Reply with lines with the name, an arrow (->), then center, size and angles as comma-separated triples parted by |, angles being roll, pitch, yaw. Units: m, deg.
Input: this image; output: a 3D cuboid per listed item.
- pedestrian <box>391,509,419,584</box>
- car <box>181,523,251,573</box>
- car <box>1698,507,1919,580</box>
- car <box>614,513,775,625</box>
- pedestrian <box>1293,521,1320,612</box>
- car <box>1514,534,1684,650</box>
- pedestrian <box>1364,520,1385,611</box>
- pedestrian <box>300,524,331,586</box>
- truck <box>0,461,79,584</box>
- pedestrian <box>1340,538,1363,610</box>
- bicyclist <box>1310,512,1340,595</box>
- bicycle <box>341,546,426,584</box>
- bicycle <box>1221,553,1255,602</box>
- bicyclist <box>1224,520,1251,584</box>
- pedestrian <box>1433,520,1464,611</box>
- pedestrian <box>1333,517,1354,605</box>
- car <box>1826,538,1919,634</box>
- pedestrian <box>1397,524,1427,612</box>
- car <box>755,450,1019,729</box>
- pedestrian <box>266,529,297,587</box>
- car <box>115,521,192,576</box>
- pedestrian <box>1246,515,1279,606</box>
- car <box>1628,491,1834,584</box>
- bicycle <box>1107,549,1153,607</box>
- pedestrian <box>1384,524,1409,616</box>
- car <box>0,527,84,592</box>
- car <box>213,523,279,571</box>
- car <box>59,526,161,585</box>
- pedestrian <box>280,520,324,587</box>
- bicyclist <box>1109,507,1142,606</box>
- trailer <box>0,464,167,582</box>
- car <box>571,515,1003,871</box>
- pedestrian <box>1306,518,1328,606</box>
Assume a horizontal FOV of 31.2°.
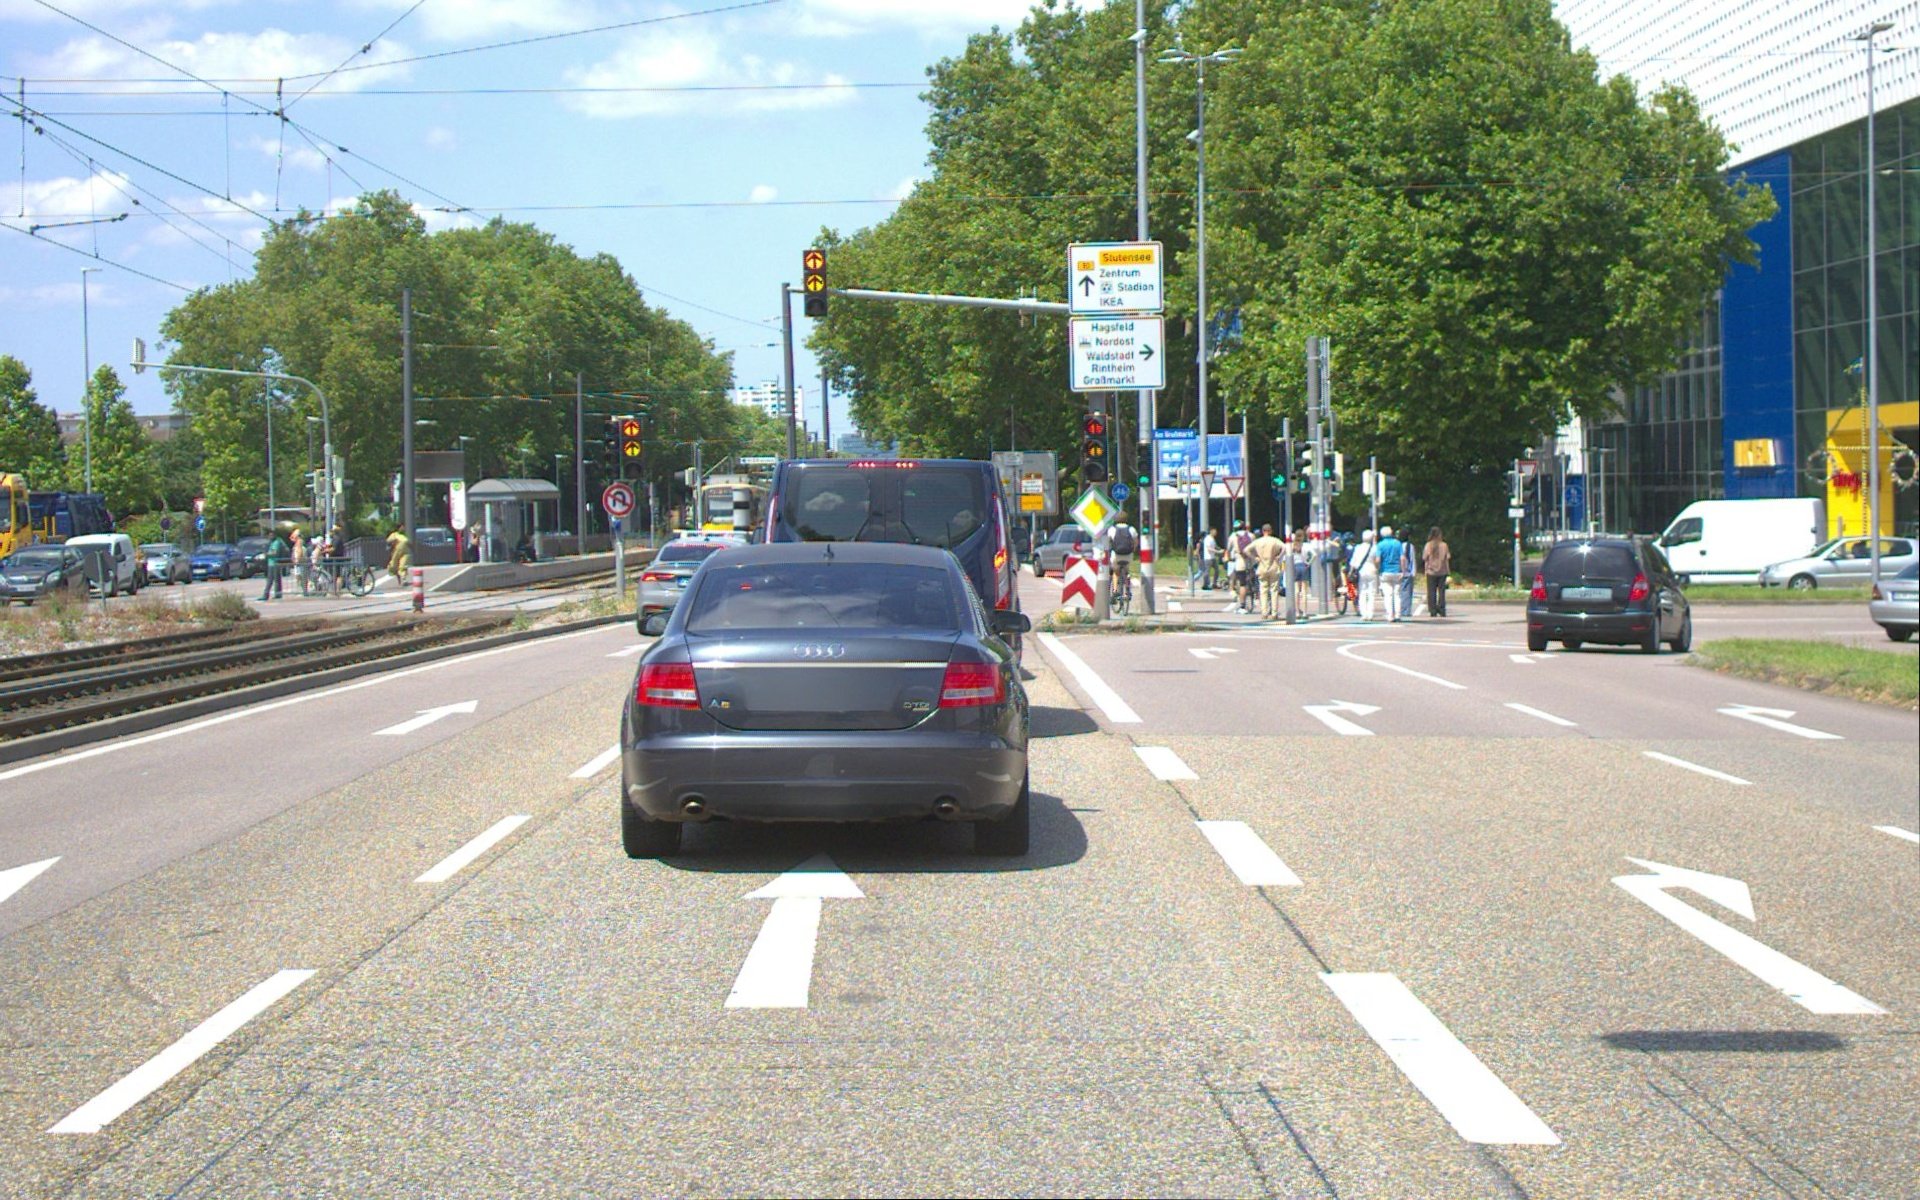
pedestrian -> -14.853, -1.424, 92.016 | 0.685, 2.007, 0.573 | 0, 1, -4
car -> -28.385, -2.009, 131.254 | 1.817, 1.876, 4.000 | 0, 1, -1
car -> 18.865, -1.273, 76.460 | 4.498, 1.481, 2.000 | 1, 2, 3
car -> -3.762, -0.474, 49.318 | 1.993, 1.481, 4.000 | 1, 2, 0
pedestrian -> 6.234, -0.605, 61.829 | 0.445, 1.629, 0.430 | 0, 1, 3
car -> 8.936, -0.147, 47.849 | 1.995, 1.481, 3.997 | 2, 2, 15
pedestrian -> 7.442, -0.620, 61.730 | 0.320, 1.629, 0.377 | 0, 1, 3
pedestrian -> -16.275, -1.130, 86.833 | 0.685, 1.559, 0.573 | 0, 1, -4
truck -> -28.419, -2.304, 102.423 | 2.767, 3.557, 6.440 | 0, 1, -1
pedestrian -> 7.038, -0.468, 61.767 | 0.372, 1.299, 0.365 | 0, 1, 3
bicyclist -> 7.819, -0.995, 73.664 | 0.529, 1.758, 0.827 | 0, 1, 13
bicycle -> -14.303, -0.865, 85.250 | 2.055, 0.922, 0.753 | 0, 1, -10
bicycle -> 5.121, -0.424, 63.427 | 0.550, 0.874, 1.697 | 0, 1, 2
bicyclist -> 5.148, -0.891, 63.823 | 0.470, 1.189, 0.791 | 0, 1, 2
pedestrian -> 9.059, -0.644, 63.779 | 0.521, 1.664, 0.494 | 0, 1, 3
pedestrian -> 7.116, -0.731, 63.838 | 0.339, 1.629, 0.377 | 0, 1, 3
car -> 16.448, -0.232, 56.884 | 4.154, 1.481, 1.999 | 0, 2, -40
pedestrian -> 8.393, -0.591, 63.804 | 0.504, 1.629, 0.449 | 0, 1, 3
car -> -0.537, -0.106, 25.958 | 1.836, 1.943, 4.000 | 0, 1, -1
pedestrian -> -16.915, -1.060, 85.722 | 0.685, 1.438, 0.573 | 0, 1, -4
car -> -28.517, -1.833, 121.608 | 1.817, 1.876, 4.000 | 0, 1, -1
pedestrian -> 5.441, -0.718, 61.887 | 0.554, 1.629, 0.433 | 0, 1, 3
car -> 19.422, -1.590, 86.621 | 4.765, 2.301, 1.998 | 1, 1, 23
bicycle -> 3.063, -0.414, 62.217 | 0.688, 0.990, 2.752 | 0, 1, 0
pedestrian -> 7.836, -0.542, 61.707 | 0.398, 1.629, 0.371 | 0, 1, 3
car -> -25.230, -1.109, 93.267 | 1.822, 1.664, 4.462 | 1, 1, 0
car -> -28.360, -2.104, 136.646 | 1.817, 1.876, 4.000 | 0, 1, -1
car -> -25.189, -1.349, 102.008 | 1.822, 1.664, 4.461 | 1, 1, 1
pedestrian -> -16.954, -1.197, 88.536 | 0.824, 1.714, 0.774 | 1, 1, 22
bicyclist -> 2.987, -0.790, 62.093 | 0.528, 1.783, 1.088 | 0, 1, 0
trailer -> -28.519, -2.470, 110.135 | 2.767, 3.506, 15.879 | 0, 1, -1
car -> -0.742, 0.343, 16.504 | 1.792, 1.450, 4.000 | -1, 2, 0
pedestrian -> 6.641, -0.717, 63.920 | 0.381, 1.629, 0.377 | 0, 1, 3
